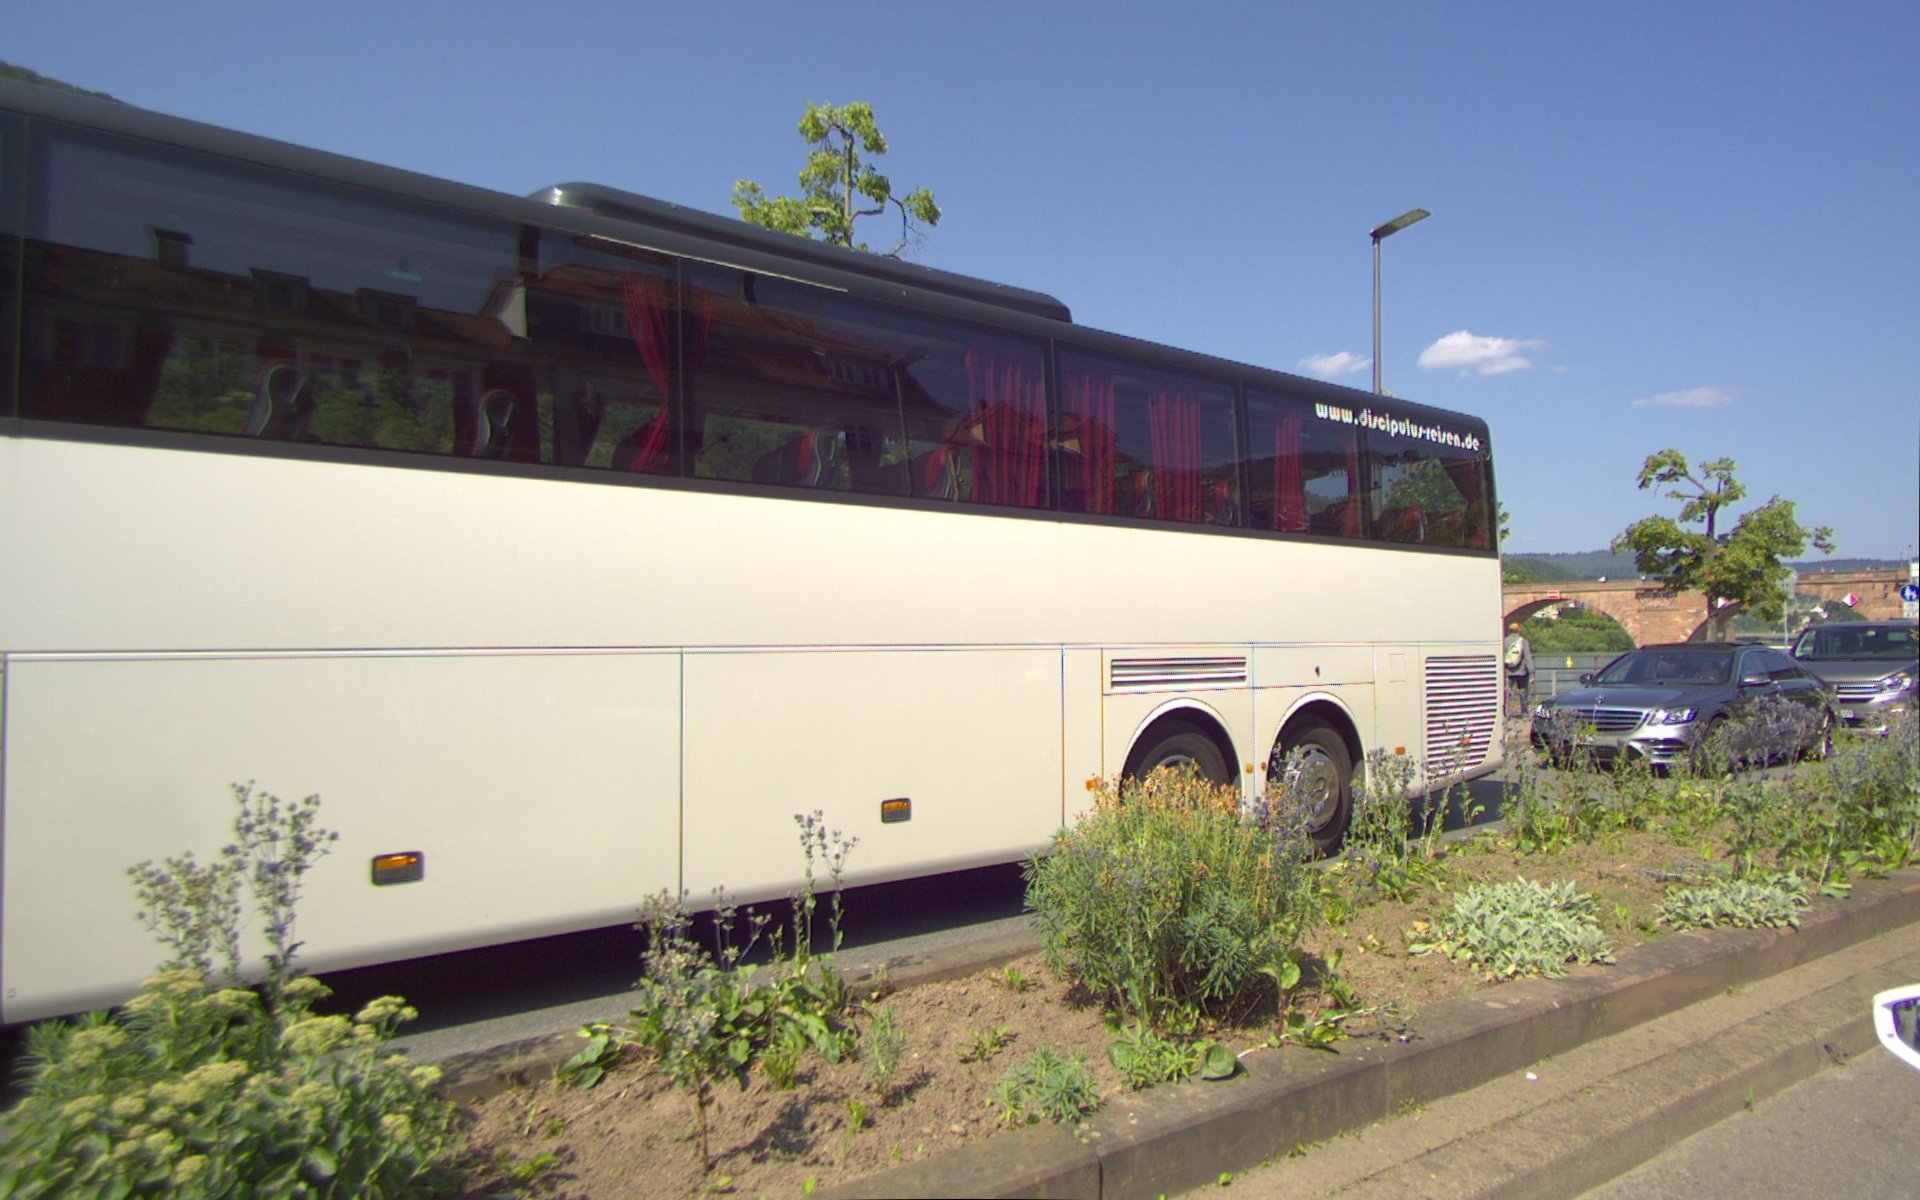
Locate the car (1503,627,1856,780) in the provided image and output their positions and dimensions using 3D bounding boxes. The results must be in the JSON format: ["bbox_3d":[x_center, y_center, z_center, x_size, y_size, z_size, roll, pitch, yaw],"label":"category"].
[{"bbox_3d":[9.330,1.231,12.888,5.104,1.619,1.982,2,-5,-34],"label":"car"}]

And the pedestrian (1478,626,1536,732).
[{"bbox_3d":[8.631,1.230,15.856,0.635,1.622,0.537,1,0,-34],"label":"pedestrian"}]

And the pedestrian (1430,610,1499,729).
[{"bbox_3d":[8.279,1.112,16.503,0.689,1.883,0.756,1,0,-37],"label":"pedestrian"}]

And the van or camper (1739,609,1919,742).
[{"bbox_3d":[15.213,1.193,16.632,5.122,1.897,1.983,2,-3,-32],"label":"van or camper"}]

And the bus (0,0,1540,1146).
[{"bbox_3d":[-1.104,0.017,5.974,12.850,3.610,2.615,2,-3,-34],"label":"bus"}]

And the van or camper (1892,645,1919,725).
[{"bbox_3d":[20.477,1.639,19.586,5.006,1.496,1.985,2,-4,-30],"label":"van or camper"}]

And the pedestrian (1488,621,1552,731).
[{"bbox_3d":[9.937,1.320,17.829,0.689,1.883,0.756,1,0,-37],"label":"pedestrian"}]
